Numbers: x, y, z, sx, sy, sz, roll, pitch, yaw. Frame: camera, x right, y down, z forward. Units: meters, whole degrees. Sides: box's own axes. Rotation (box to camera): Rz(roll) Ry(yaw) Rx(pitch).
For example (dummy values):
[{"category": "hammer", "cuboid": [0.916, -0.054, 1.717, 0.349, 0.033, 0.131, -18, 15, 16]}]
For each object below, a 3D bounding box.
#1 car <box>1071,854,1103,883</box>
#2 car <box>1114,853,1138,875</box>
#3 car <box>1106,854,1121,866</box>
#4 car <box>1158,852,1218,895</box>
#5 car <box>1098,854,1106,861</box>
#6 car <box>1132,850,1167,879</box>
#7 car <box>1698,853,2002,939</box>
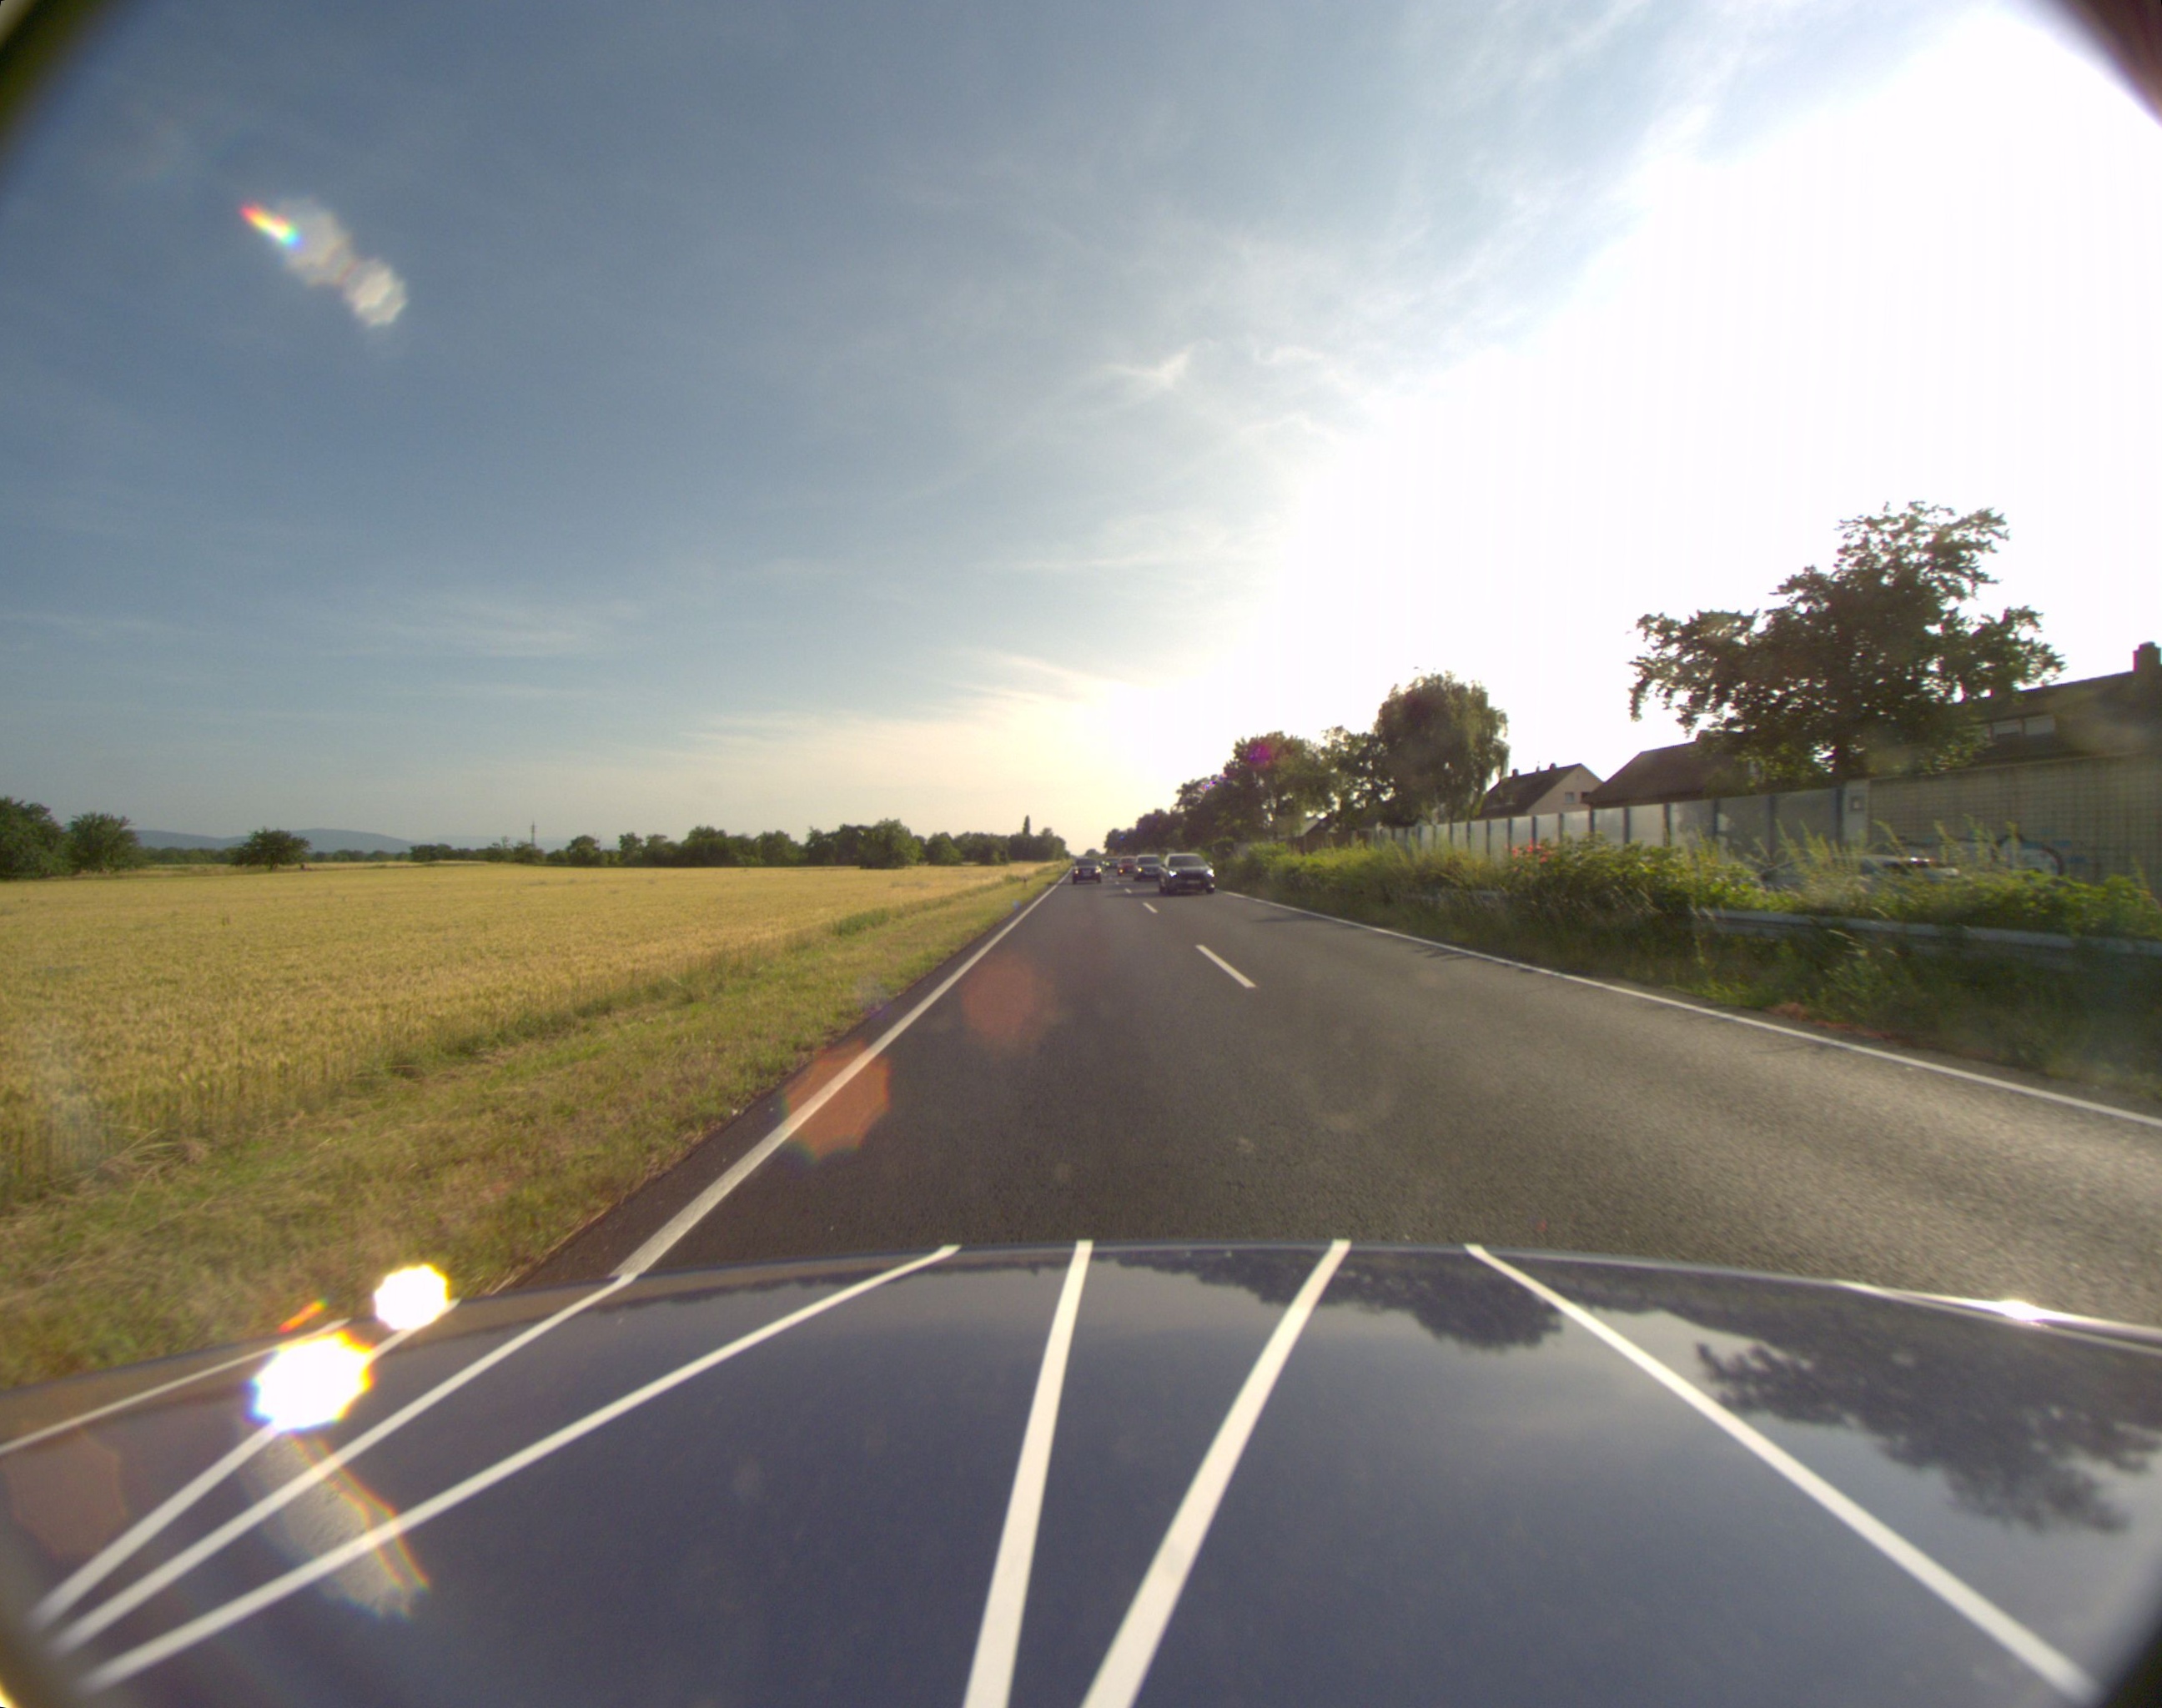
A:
[{"category": "car", "cuboid": [0.362, 0.859, 46.892, 1.822, 1.661, 3.999, -2, 1, 0]}, {"category": "car", "cuboid": [3.823, 0.828, 64.928, 1.822, 1.661, 3.999, -2, 1, 0]}, {"category": "car", "cuboid": [4.103, 0.741, 97.438, 1.700, 1.456, 3.646, -2, 1, 0]}, {"category": "car", "cuboid": [4.228, 0.737, 30.606, 1.822, 1.516, 4.246, -2, 1, 1]}, {"category": "car", "cuboid": [4.441, 0.669, 161.004, 1.693, 1.397, 3.999, -2, 1, 0]}, {"category": "car", "cuboid": [4.353, 0.641, 48.734, 1.822, 1.724, 4.000, -2, 1, 1]}, {"category": "car", "cuboid": [14.836, 0.714, 15.082, 1.652, 1.353, 4.289, -3, 1, 0]}]
